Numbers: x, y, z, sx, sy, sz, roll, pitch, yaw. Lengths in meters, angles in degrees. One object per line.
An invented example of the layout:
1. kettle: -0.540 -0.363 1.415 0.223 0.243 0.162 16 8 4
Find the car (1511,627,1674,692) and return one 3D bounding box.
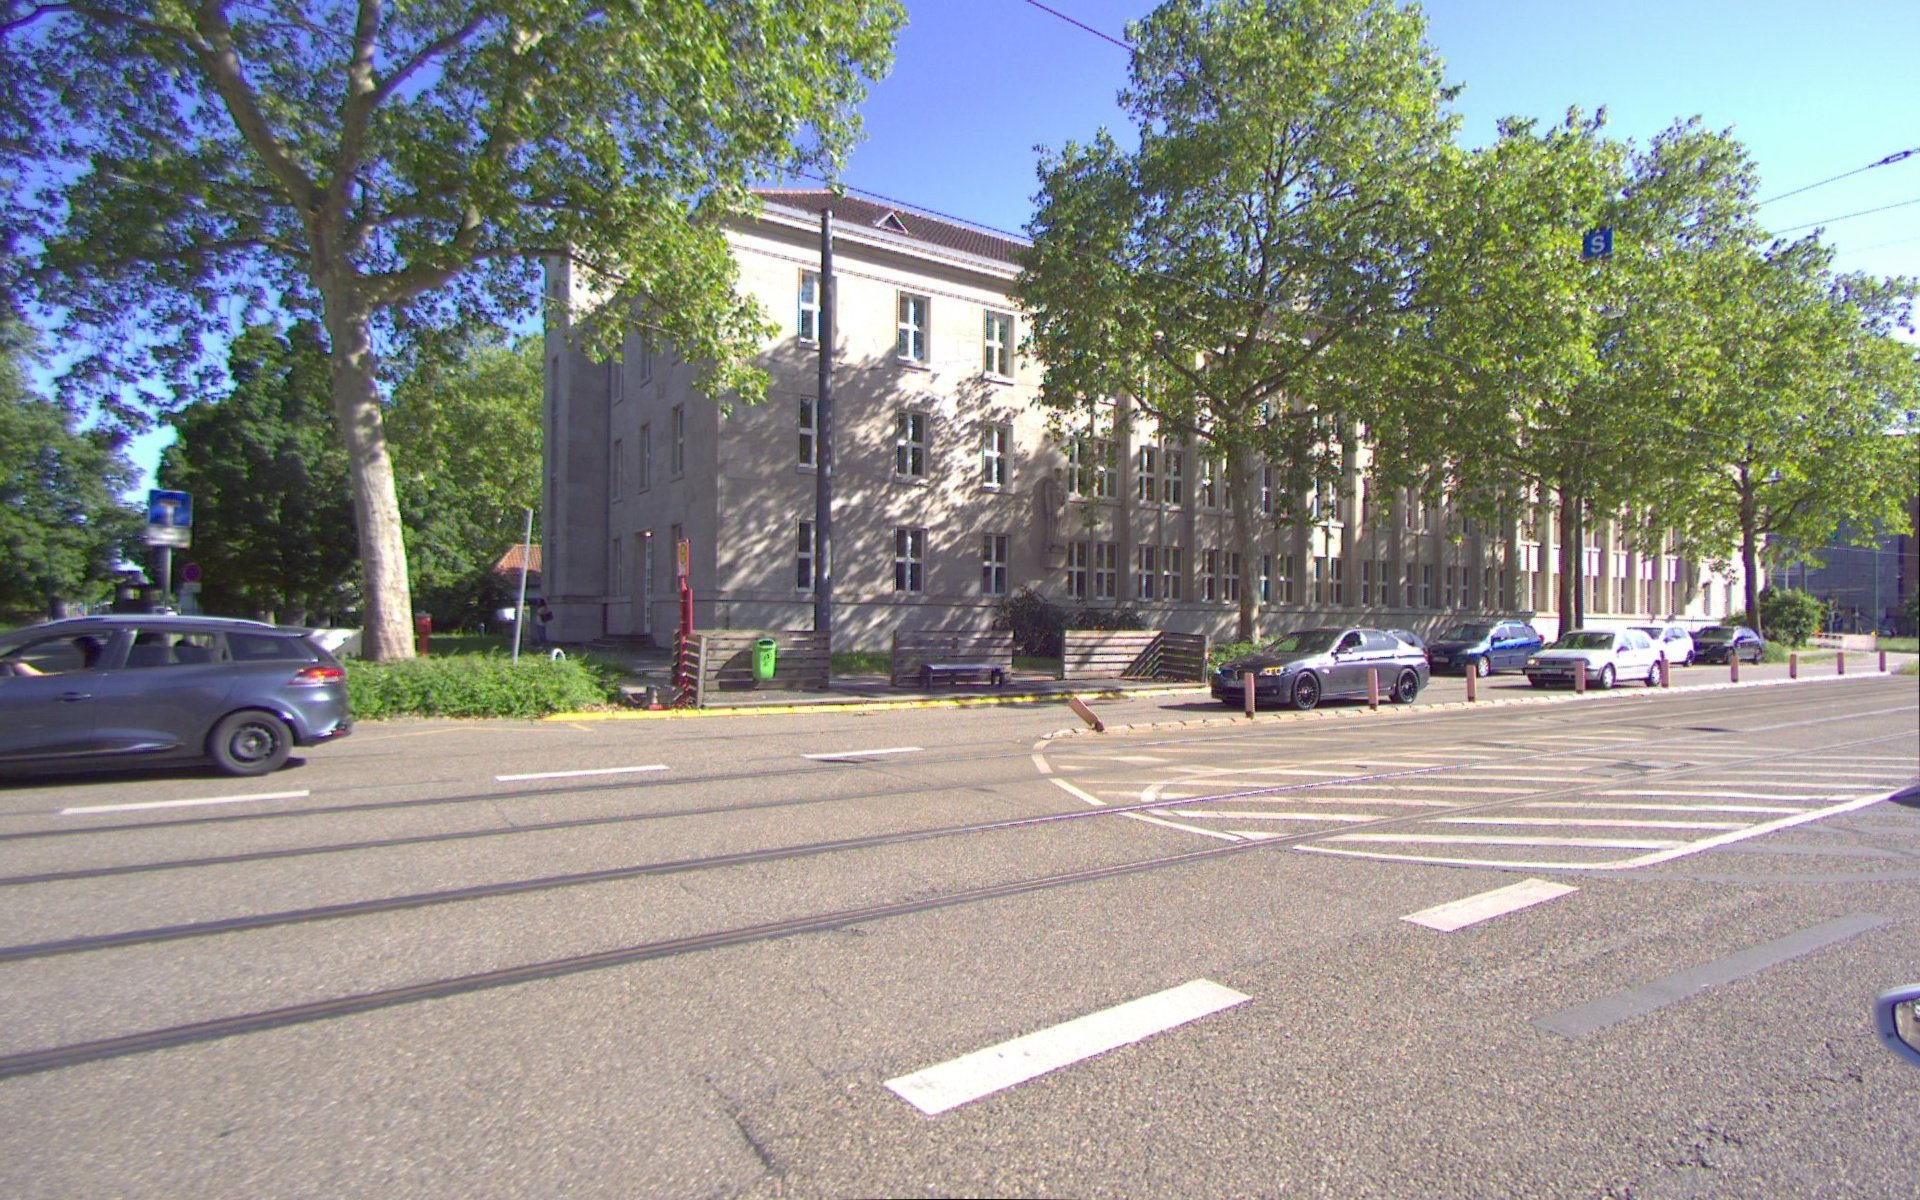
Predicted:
1. car: 15.594 1.418 24.719 4.125 1.472 1.820 1 -2 -33

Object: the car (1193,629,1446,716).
1. car: 6.880 1.295 19.058 4.903 1.472 1.821 1 -2 -31

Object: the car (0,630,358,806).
1. car: -7.857 0.985 9.100 4.046 1.430 1.606 1 -2 -35

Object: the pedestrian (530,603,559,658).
1. pedestrian: -14.813 1.081 35.797 0.891 1.921 0.805 0 -1 -29

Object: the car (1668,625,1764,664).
1. car: 30.693 1.774 40.761 4.136 1.512 1.819 1 -1 -33

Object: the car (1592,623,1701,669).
1. car: 25.523 1.689 37.296 4.348 1.608 1.819 1 -2 -33

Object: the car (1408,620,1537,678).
1. car: 15.796 1.468 30.889 4.353 1.661 1.817 1 -1 -36

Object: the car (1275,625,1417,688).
1. car: 10.612 1.492 27.508 4.149 1.568 1.660 1 -1 -36
